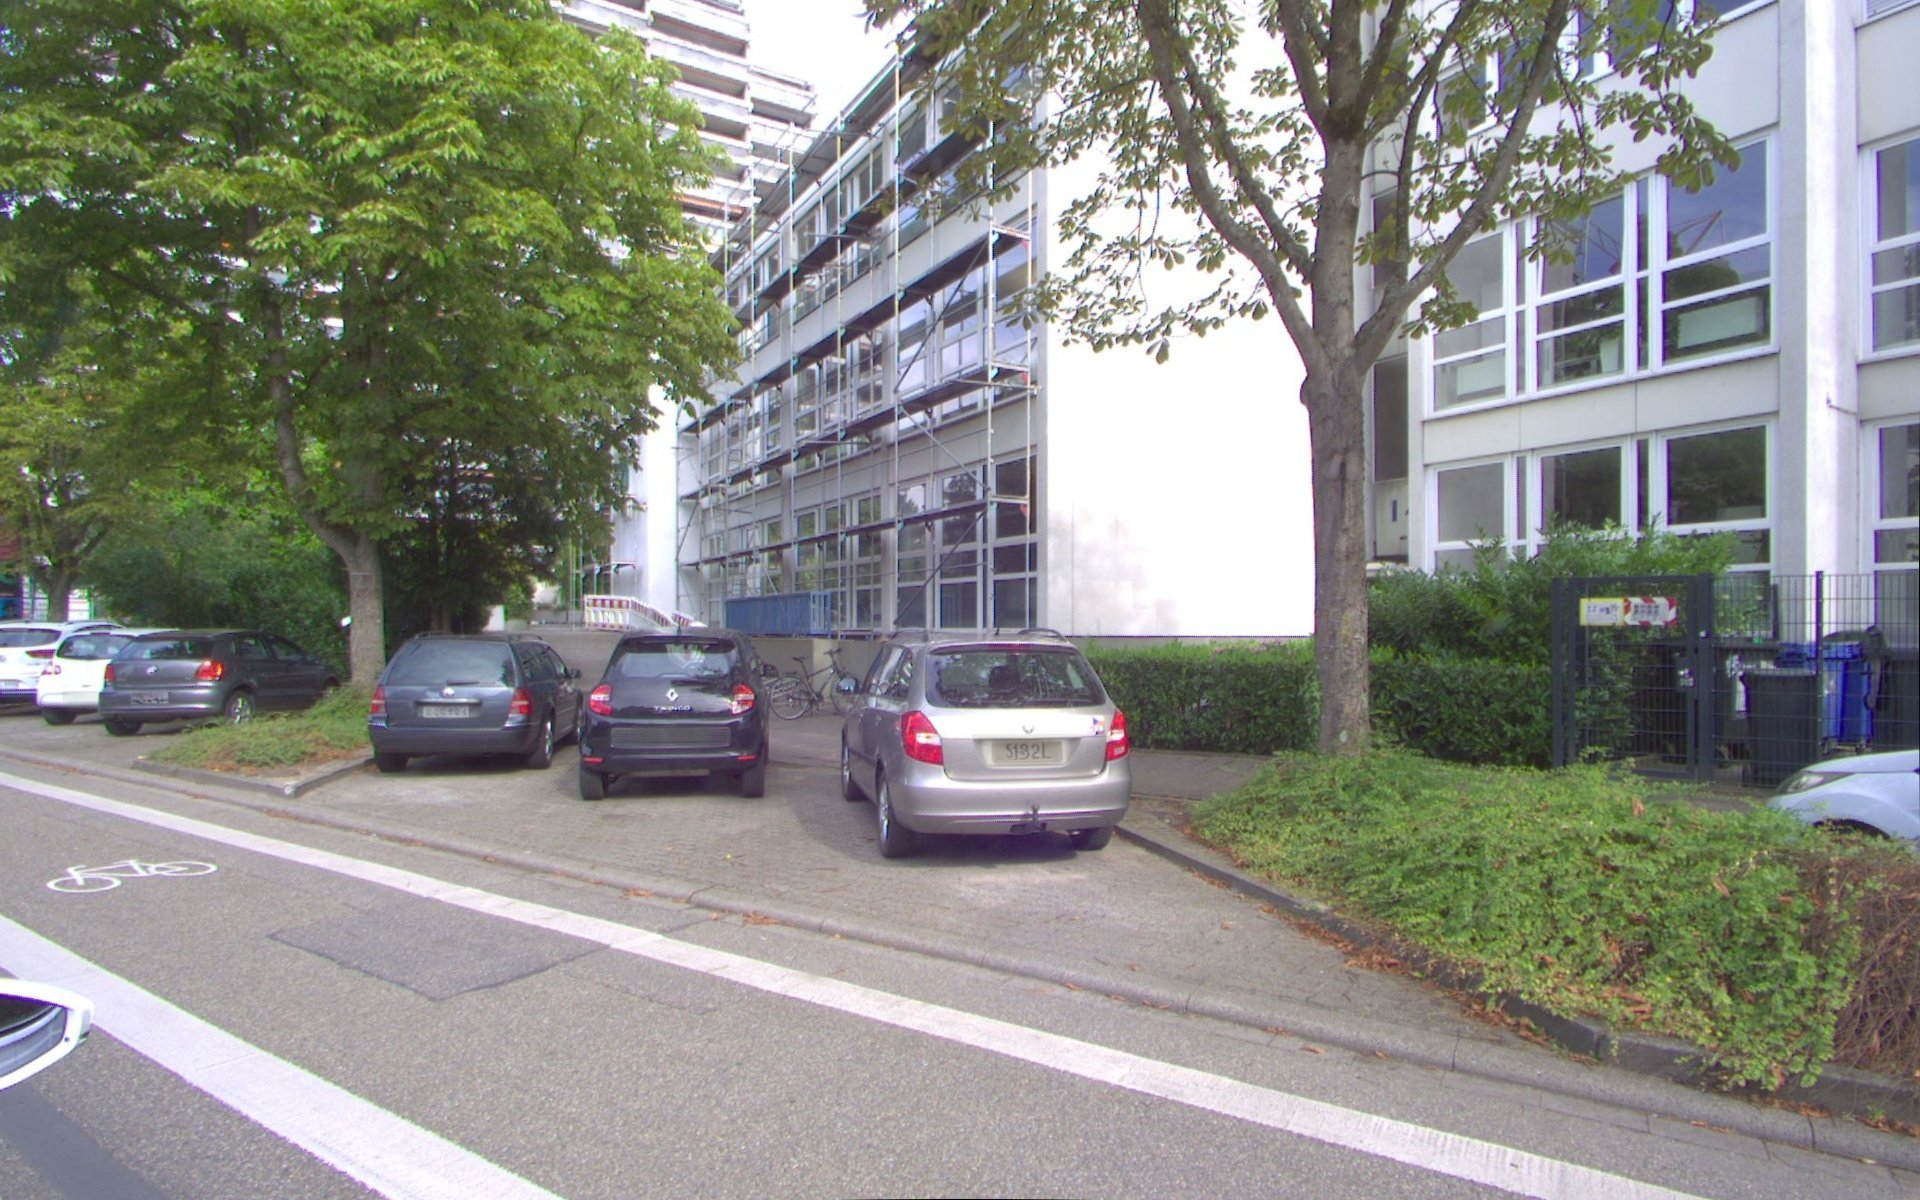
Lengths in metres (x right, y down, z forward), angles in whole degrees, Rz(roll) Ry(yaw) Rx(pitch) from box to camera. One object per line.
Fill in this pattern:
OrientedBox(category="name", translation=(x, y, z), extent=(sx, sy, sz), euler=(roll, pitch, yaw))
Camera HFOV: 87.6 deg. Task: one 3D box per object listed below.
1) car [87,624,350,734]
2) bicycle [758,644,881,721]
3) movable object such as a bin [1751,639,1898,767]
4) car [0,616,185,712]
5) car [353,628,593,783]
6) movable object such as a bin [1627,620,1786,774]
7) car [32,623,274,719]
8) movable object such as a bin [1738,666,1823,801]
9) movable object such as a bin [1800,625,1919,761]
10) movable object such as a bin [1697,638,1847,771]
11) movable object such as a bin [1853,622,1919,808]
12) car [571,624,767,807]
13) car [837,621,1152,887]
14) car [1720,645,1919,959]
OrientedBox(category="car", translation=(-11.002, 1.105, 15.178), extent=(1.593, 1.461, 3.536), euler=(0, -2, -6))
OrientedBox(category="bicycle", translation=(-2.314, 1.341, 16.571), extent=(1.943, 1.143, 0.536), euler=(-1, 0, -28))
OrientedBox(category="movable object such as a bin", translation=(10.115, 1.165, 11.734), extent=(1.021, 1.385, 1.072), euler=(2, -2, -33))
OrientedBox(category="car", translation=(-16.182, 1.109, 18.332), extent=(1.530, 1.593, 3.447), euler=(0, -1, -6))
OrientedBox(category="car", translation=(-5.393, 1.083, 11.586), extent=(1.610, 1.477, 3.738), euler=(1, -2, -12))
OrientedBox(category="movable object such as a bin", translation=(8.030, 0.998, 10.782), extent=(1.105, 1.542, 1.072), euler=(2, -2, -33))
OrientedBox(category="car", translation=(-13.438, 1.131, 16.951), extent=(1.530, 1.461, 3.447), euler=(0, -1, -6))
OrientedBox(category="movable object such as a bin", translation=(7.328, 1.165, 8.943), extent=(0.566, 1.117, 0.647), euler=(0, -2, 42))
OrientedBox(category="movable object such as a bin", translation=(11.269, 1.110, 12.410), extent=(1.021, 1.582, 1.072), euler=(2, -2, -33))
OrientedBox(category="movable object such as a bin", translation=(9.131, 1.133, 11.277), extent=(1.021, 1.385, 1.072), euler=(2, -2, -33))
OrientedBox(category="movable object such as a bin", translation=(8.530, 0.961, 8.462), extent=(1.316, 1.527, 1.067), euler=(0, -2, 34))
OrientedBox(category="car", translation=(-2.877, 1.048, 10.473), extent=(1.610, 1.541, 3.738), euler=(1, -2, -12))
OrientedBox(category="car", translation=(0.014, 0.967, 7.811), extent=(1.610, 1.541, 3.738), euler=(1, -2, -12))
OrientedBox(category="car", translation=(5.562, 0.943, 4.036), extent=(1.611, 1.478, 3.825), euler=(1, -2, -14))
